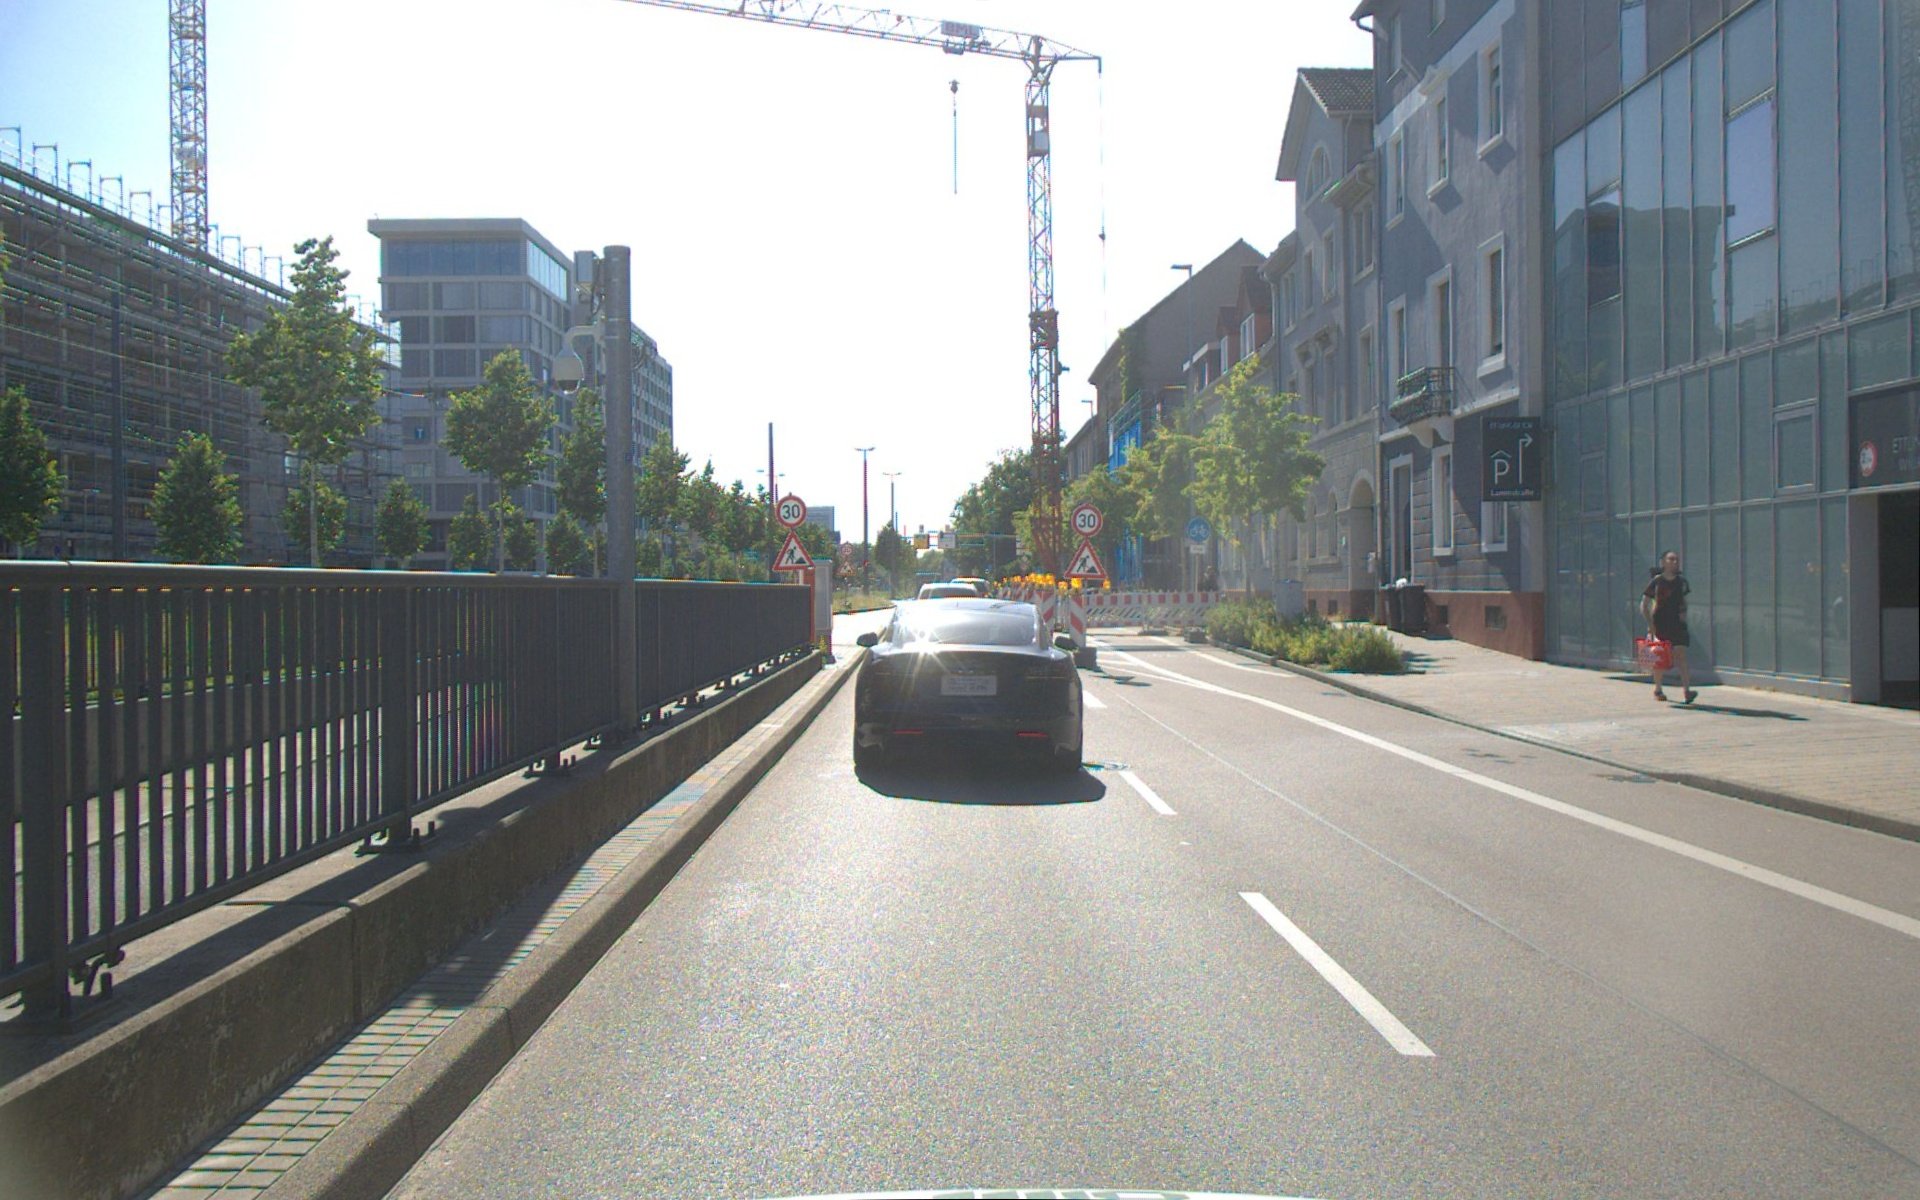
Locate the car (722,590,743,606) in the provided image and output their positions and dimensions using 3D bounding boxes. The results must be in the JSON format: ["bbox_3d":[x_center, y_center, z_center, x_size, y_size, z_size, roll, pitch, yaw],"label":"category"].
[{"bbox_3d":[-24.317,-0.192,176.868,1.753,1.680,4.000,-1,0,0],"label":"car"}]

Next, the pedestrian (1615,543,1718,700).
[{"bbox_3d":[9.193,0.262,21.553,0.857,1.957,0.895,-3,1,-1],"label":"pedestrian"}]

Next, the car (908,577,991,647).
[{"bbox_3d":[-0.254,0.223,36.829,1.712,1.452,4.837,0,1,-1],"label":"car"}]

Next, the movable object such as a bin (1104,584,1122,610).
[{"bbox_3d":[6.672,-0.152,72.019,0.576,1.076,0.783,-5,1,-5],"label":"movable object such as a bin"}]

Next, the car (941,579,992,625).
[{"bbox_3d":[0.228,0.050,58.213,1.714,1.554,4.005,0,0,0],"label":"car"}]

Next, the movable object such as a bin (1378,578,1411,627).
[{"bbox_3d":[10.073,0.058,38.355,0.576,1.127,0.704,0,1,0],"label":"movable object such as a bin"}]

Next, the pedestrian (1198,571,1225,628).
[{"bbox_3d":[8.748,-0.011,57.568,0.778,1.962,0.769,0,0,-6],"label":"pedestrian"}]

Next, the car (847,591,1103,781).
[{"bbox_3d":[0.090,0.668,15.340,2.009,1.469,4.523,1,1,-1],"label":"car"}]

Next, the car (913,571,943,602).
[{"bbox_3d":[-2.438,-1.037,125.419,2.173,2.307,4.483,1,1,-2],"label":"car"}]

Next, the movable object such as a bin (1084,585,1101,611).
[{"bbox_3d":[5.785,-0.077,72.159,0.583,1.076,0.730,-4,0,0],"label":"movable object such as a bin"}]

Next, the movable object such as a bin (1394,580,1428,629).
[{"bbox_3d":[10.236,0.087,37.540,0.590,1.101,0.704,0,1,0],"label":"movable object such as a bin"}]
